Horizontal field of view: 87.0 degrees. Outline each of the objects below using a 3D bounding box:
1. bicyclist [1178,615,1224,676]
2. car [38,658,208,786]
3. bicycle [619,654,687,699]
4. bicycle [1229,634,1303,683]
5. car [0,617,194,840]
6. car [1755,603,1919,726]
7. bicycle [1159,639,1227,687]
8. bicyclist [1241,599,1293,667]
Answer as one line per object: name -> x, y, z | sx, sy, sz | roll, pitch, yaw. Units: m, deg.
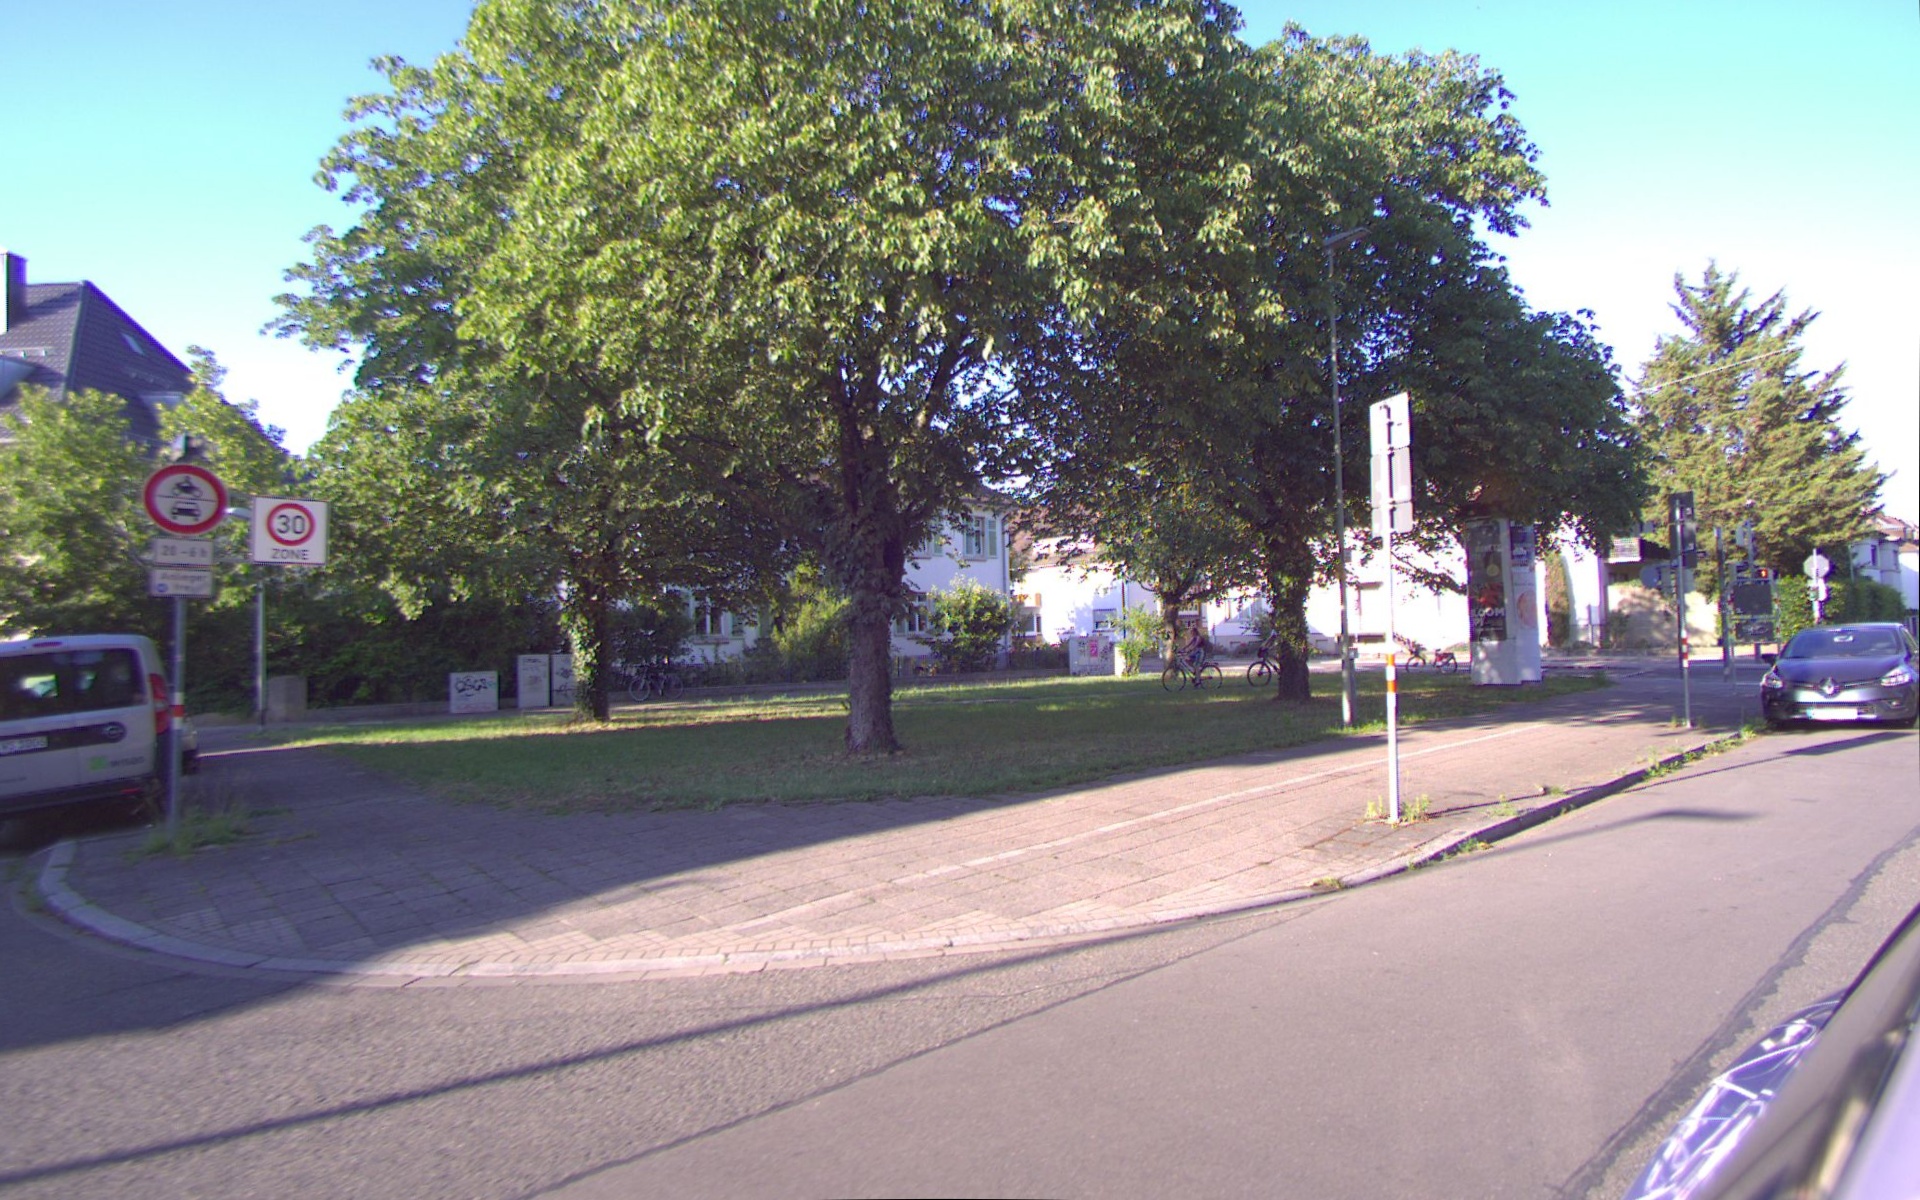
bicyclist -> 6.561, 1.223, 27.522 | 0.876, 1.582, 0.715 | -2, -2, -28
car -> -12.078, 1.666, 14.525 | 1.579, 1.535, 3.553 | 0, -3, -45
bicycle -> -9.240, 2.290, 30.500 | 1.920, 1.254, 0.449 | 0, -4, -42
bicycle -> 8.294, 1.590, 27.432 | 1.866, 1.199, 0.575 | -2, -4, -22
car -> -9.437, 1.267, 10.672 | 1.995, 1.899, 4.248 | -1, -3, -39
car -> 13.466, 0.881, 15.055 | 4.463, 1.531, 1.727 | -1, -4, -42
bicycle -> 6.311, 1.687, 27.352 | 1.924, 1.199, 0.493 | 0, -2, -28
bicyclist -> 8.343, 0.893, 27.520 | 0.875, 1.755, 0.818 | -2, -4, -23
